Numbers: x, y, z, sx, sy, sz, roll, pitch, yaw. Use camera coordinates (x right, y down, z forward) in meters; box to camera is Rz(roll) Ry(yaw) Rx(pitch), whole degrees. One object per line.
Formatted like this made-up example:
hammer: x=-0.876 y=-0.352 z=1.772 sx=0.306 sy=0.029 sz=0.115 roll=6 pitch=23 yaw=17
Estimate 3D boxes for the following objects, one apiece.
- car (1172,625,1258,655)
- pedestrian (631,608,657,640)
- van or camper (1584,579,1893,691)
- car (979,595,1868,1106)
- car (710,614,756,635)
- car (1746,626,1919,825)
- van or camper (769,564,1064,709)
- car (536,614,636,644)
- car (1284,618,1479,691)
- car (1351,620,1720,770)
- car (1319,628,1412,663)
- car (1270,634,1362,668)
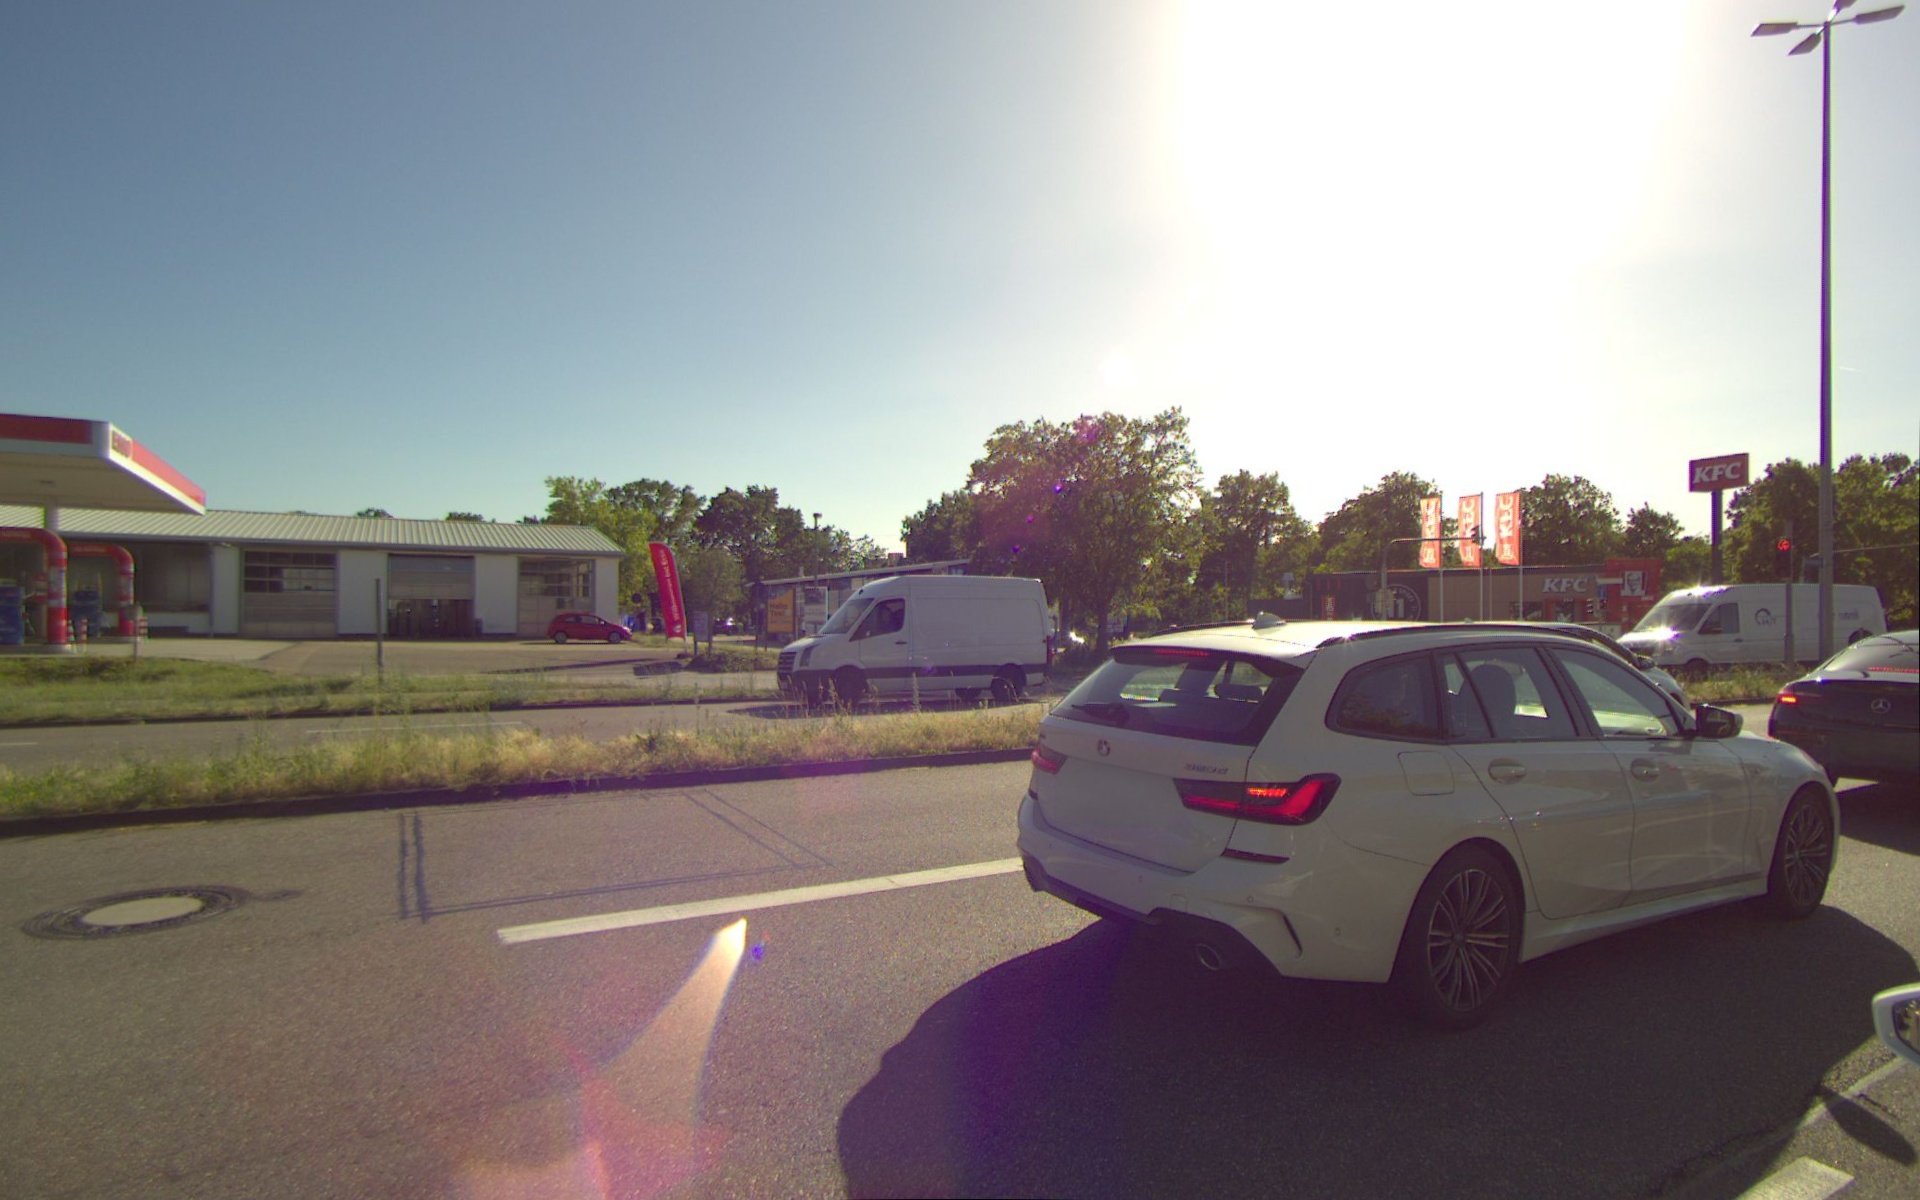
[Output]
car: x=13.785 y=2.136 z=54.521 sx=1.840 sy=1.449 sz=4.700 roll=0 pitch=0 yaw=-28
pedestrian: x=-17.899 y=1.344 z=56.897 sx=1.089 sy=1.787 sz=1.147 roll=1 pitch=-1 yaw=-37
van or camper: x=19.323 y=0.861 z=25.019 sx=6.631 sy=2.606 sz=2.182 roll=1 pitch=-1 yaw=-10
car: x=2.421 y=0.796 z=4.902 sx=4.409 sy=1.529 sz=1.760 roll=1 pitch=-1 yaw=-30
car: x=-19.936 y=2.146 z=88.254 sx=2.085 sy=1.840 sz=4.000 roll=0 pitch=-1 yaw=20
car: x=8.799 y=0.964 z=8.623 sx=4.409 sy=1.433 sz=1.760 roll=1 pitch=-1 yaw=-30
van or camper: x=-0.846 y=0.780 z=20.953 sx=5.882 sy=2.685 sz=1.986 roll=1 pitch=-3 yaw=-28
car: x=-18.374 y=1.420 z=49.378 sx=4.486 sy=1.458 sz=1.741 roll=1 pitch=-1 yaw=-26
car: x=10.513 y=1.308 z=25.038 sx=4.552 sy=1.675 sz=1.987 roll=1 pitch=-1 yaw=-25
car: x=6.778 y=0.984 z=11.741 sx=4.352 sy=1.448 sz=1.848 roll=1 pitch=-1 yaw=-30
car: x=20.064 y=2.235 z=49.854 sx=1.804 sy=1.616 sz=4.016 roll=1 pitch=-1 yaw=-32
car: x=17.018 y=2.415 z=48.163 sx=1.801 sy=1.448 sz=4.022 roll=1 pitch=-1 yaw=-27
